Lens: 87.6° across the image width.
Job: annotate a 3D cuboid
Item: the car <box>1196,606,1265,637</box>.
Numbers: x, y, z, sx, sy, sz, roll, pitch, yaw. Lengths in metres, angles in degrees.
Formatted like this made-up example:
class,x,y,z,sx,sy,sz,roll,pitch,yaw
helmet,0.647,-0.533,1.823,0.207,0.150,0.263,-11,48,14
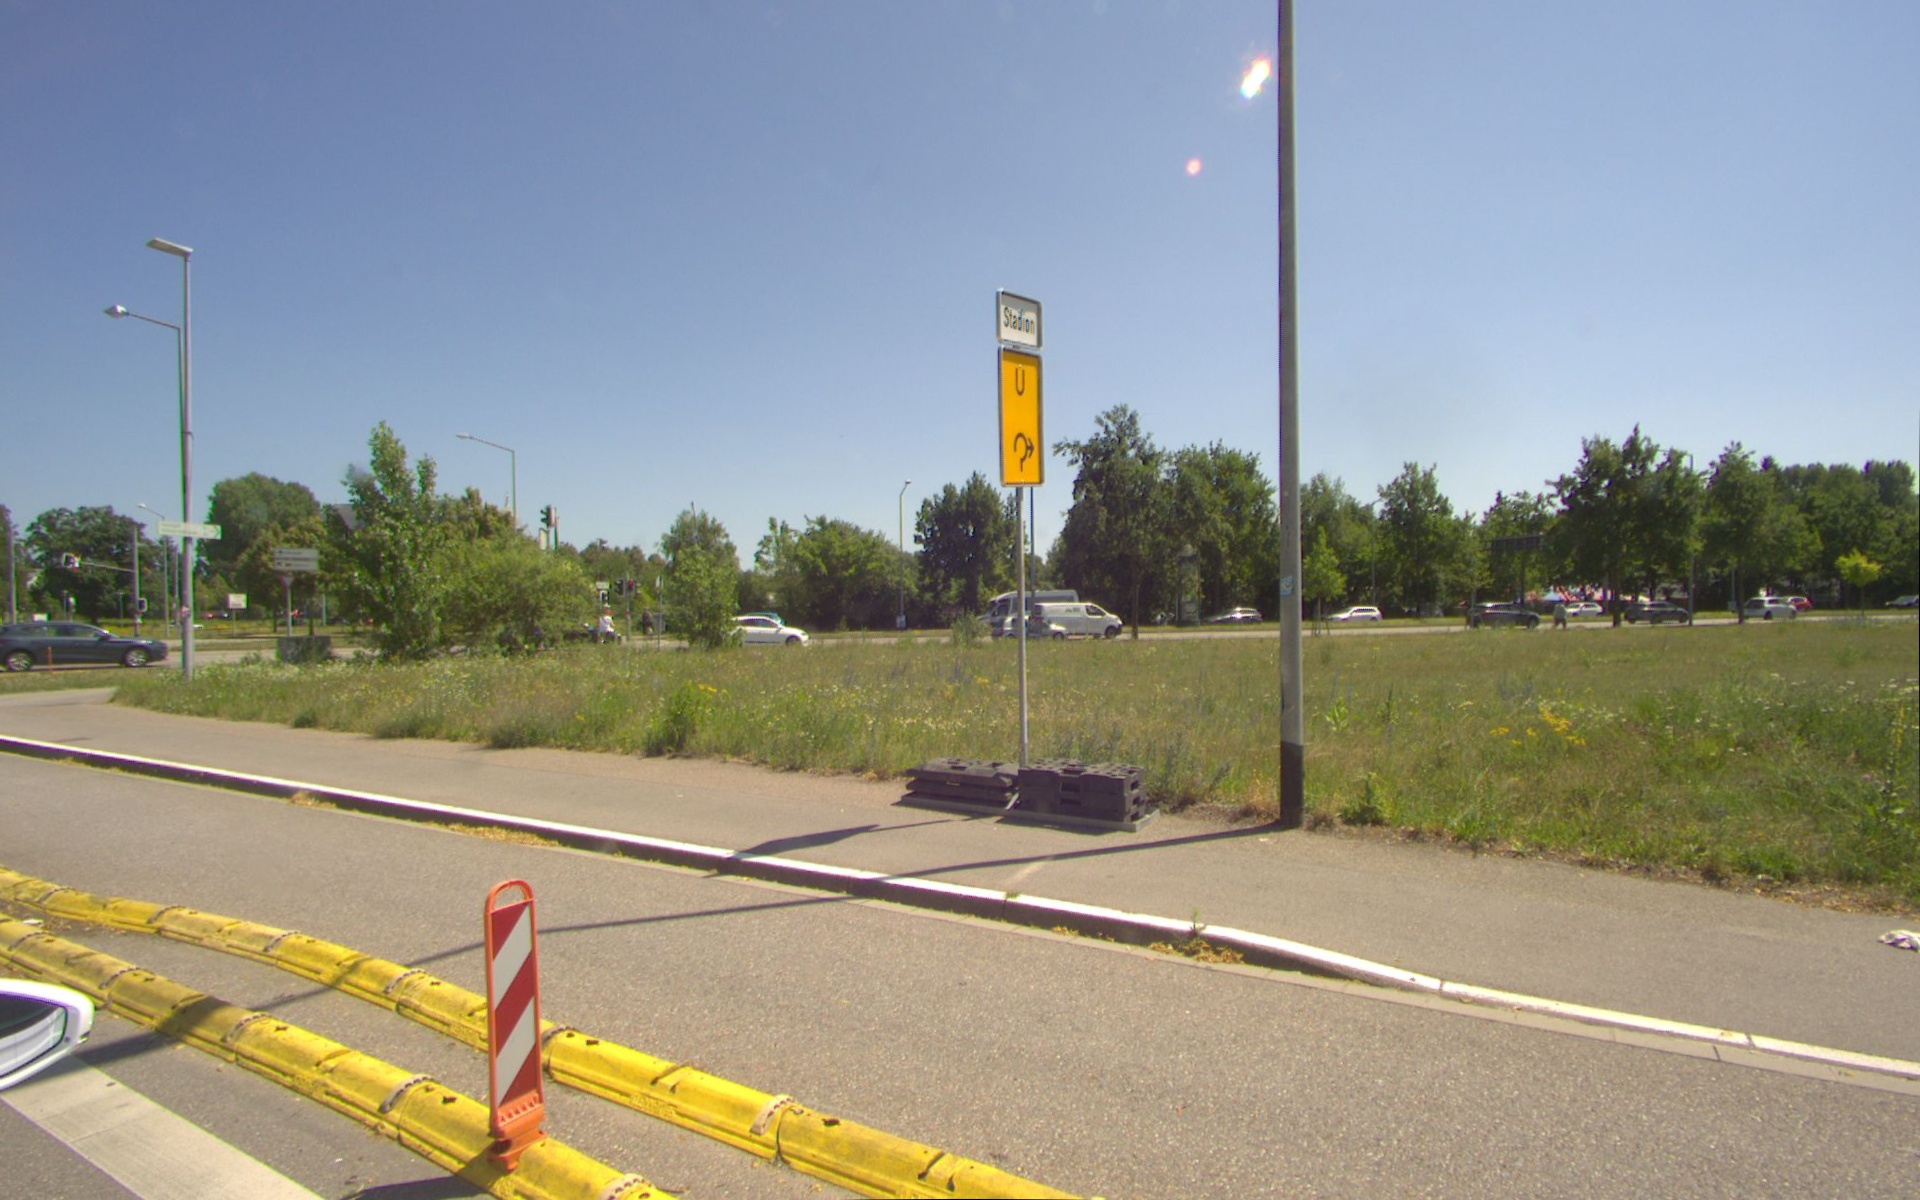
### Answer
class,x,y,z,sx,sy,sz,roll,pitch,yaw
car,17.874,1.419,66.279,3.928,2.040,1.998,0,-1,-15

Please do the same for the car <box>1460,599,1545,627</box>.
class,x,y,z,sx,sy,sz,roll,pitch,yaw
car,32.275,0.768,59.621,4.369,1.616,1.997,0,-1,-17

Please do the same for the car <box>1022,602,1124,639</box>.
class,x,y,z,sx,sy,sz,roll,pitch,yaw
car,5.864,1.053,52.065,4.898,1.874,1.997,0,-1,-17

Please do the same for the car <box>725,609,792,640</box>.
class,x,y,z,sx,sy,sz,roll,pitch,yaw
car,-12.284,1.500,61.031,3.927,1.861,1.998,0,-1,-15

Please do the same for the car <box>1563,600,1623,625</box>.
class,x,y,z,sx,sy,sz,roll,pitch,yaw
car,51.530,1.016,81.551,3.928,2.040,1.997,0,-1,-15

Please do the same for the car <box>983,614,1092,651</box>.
class,x,y,z,sx,sy,sz,roll,pitch,yaw
car,3.747,1.539,48.337,4.855,1.727,1.995,0,-1,-20

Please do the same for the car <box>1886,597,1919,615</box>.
class,x,y,z,sx,sy,sz,roll,pitch,yaw
car,88.961,0.574,93.637,3.928,1.572,1.738,0,-1,-16

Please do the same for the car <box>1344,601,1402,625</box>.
class,x,y,z,sx,sy,sz,roll,pitch,yaw
car,31.001,1.009,75.194,3.933,1.750,1.733,0,-1,-22

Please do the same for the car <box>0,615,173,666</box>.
class,x,y,z,sx,sy,sz,roll,pitch,yaw
car,-27.148,1.206,30.907,1.977,1.460,4.186,-1,-1,40

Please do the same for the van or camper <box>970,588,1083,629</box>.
class,x,y,z,sx,sy,sz,roll,pitch,yaw
van or camper,4.563,0.622,69.035,7.376,2.728,2.510,0,-1,-14

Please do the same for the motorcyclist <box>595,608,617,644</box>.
class,x,y,z,sx,sy,sz,roll,pitch,yaw
motorcyclist,-13.147,0.957,37.225,0.570,1.306,0.615,0,0,3

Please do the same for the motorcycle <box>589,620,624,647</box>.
class,x,y,z,sx,sy,sz,roll,pitch,yaw
motorcycle,-13.122,1.247,37.180,0.619,0.982,1.709,0,-1,3

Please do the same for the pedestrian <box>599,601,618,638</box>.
class,x,y,z,sx,sy,sz,roll,pitch,yaw
pedestrian,-18.623,1.034,52.997,0.726,1.894,0.648,0,0,34

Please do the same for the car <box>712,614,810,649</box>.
class,x,y,z,sx,sy,sz,roll,pitch,yaw
car,-8.664,1.362,43.568,3.953,1.463,1.629,0,-1,-20

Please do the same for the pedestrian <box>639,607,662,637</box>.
class,x,y,z,sx,sy,sz,roll,pitch,yaw
pedestrian,-16.394,1.149,53.052,0.811,1.583,0.790,-1,-1,34

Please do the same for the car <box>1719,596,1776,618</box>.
class,x,y,z,sx,sy,sz,roll,pitch,yaw
car,69.857,0.639,88.832,3.928,1.839,1.997,0,-1,-15

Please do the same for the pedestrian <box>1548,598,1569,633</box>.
class,x,y,z,sx,sy,sz,roll,pitch,yaw
pedestrian,27.387,0.725,45.830,0.724,1.583,0.497,0,0,-18

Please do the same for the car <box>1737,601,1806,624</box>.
class,x,y,z,sx,sy,sz,roll,pitch,yaw
car,56.226,0.870,69.388,3.928,1.572,1.738,0,-1,-16

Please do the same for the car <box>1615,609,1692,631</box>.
class,x,y,z,sx,sy,sz,roll,pitch,yaw
car,44.863,1.273,64.789,4.131,1.409,1.899,0,-1,-15
